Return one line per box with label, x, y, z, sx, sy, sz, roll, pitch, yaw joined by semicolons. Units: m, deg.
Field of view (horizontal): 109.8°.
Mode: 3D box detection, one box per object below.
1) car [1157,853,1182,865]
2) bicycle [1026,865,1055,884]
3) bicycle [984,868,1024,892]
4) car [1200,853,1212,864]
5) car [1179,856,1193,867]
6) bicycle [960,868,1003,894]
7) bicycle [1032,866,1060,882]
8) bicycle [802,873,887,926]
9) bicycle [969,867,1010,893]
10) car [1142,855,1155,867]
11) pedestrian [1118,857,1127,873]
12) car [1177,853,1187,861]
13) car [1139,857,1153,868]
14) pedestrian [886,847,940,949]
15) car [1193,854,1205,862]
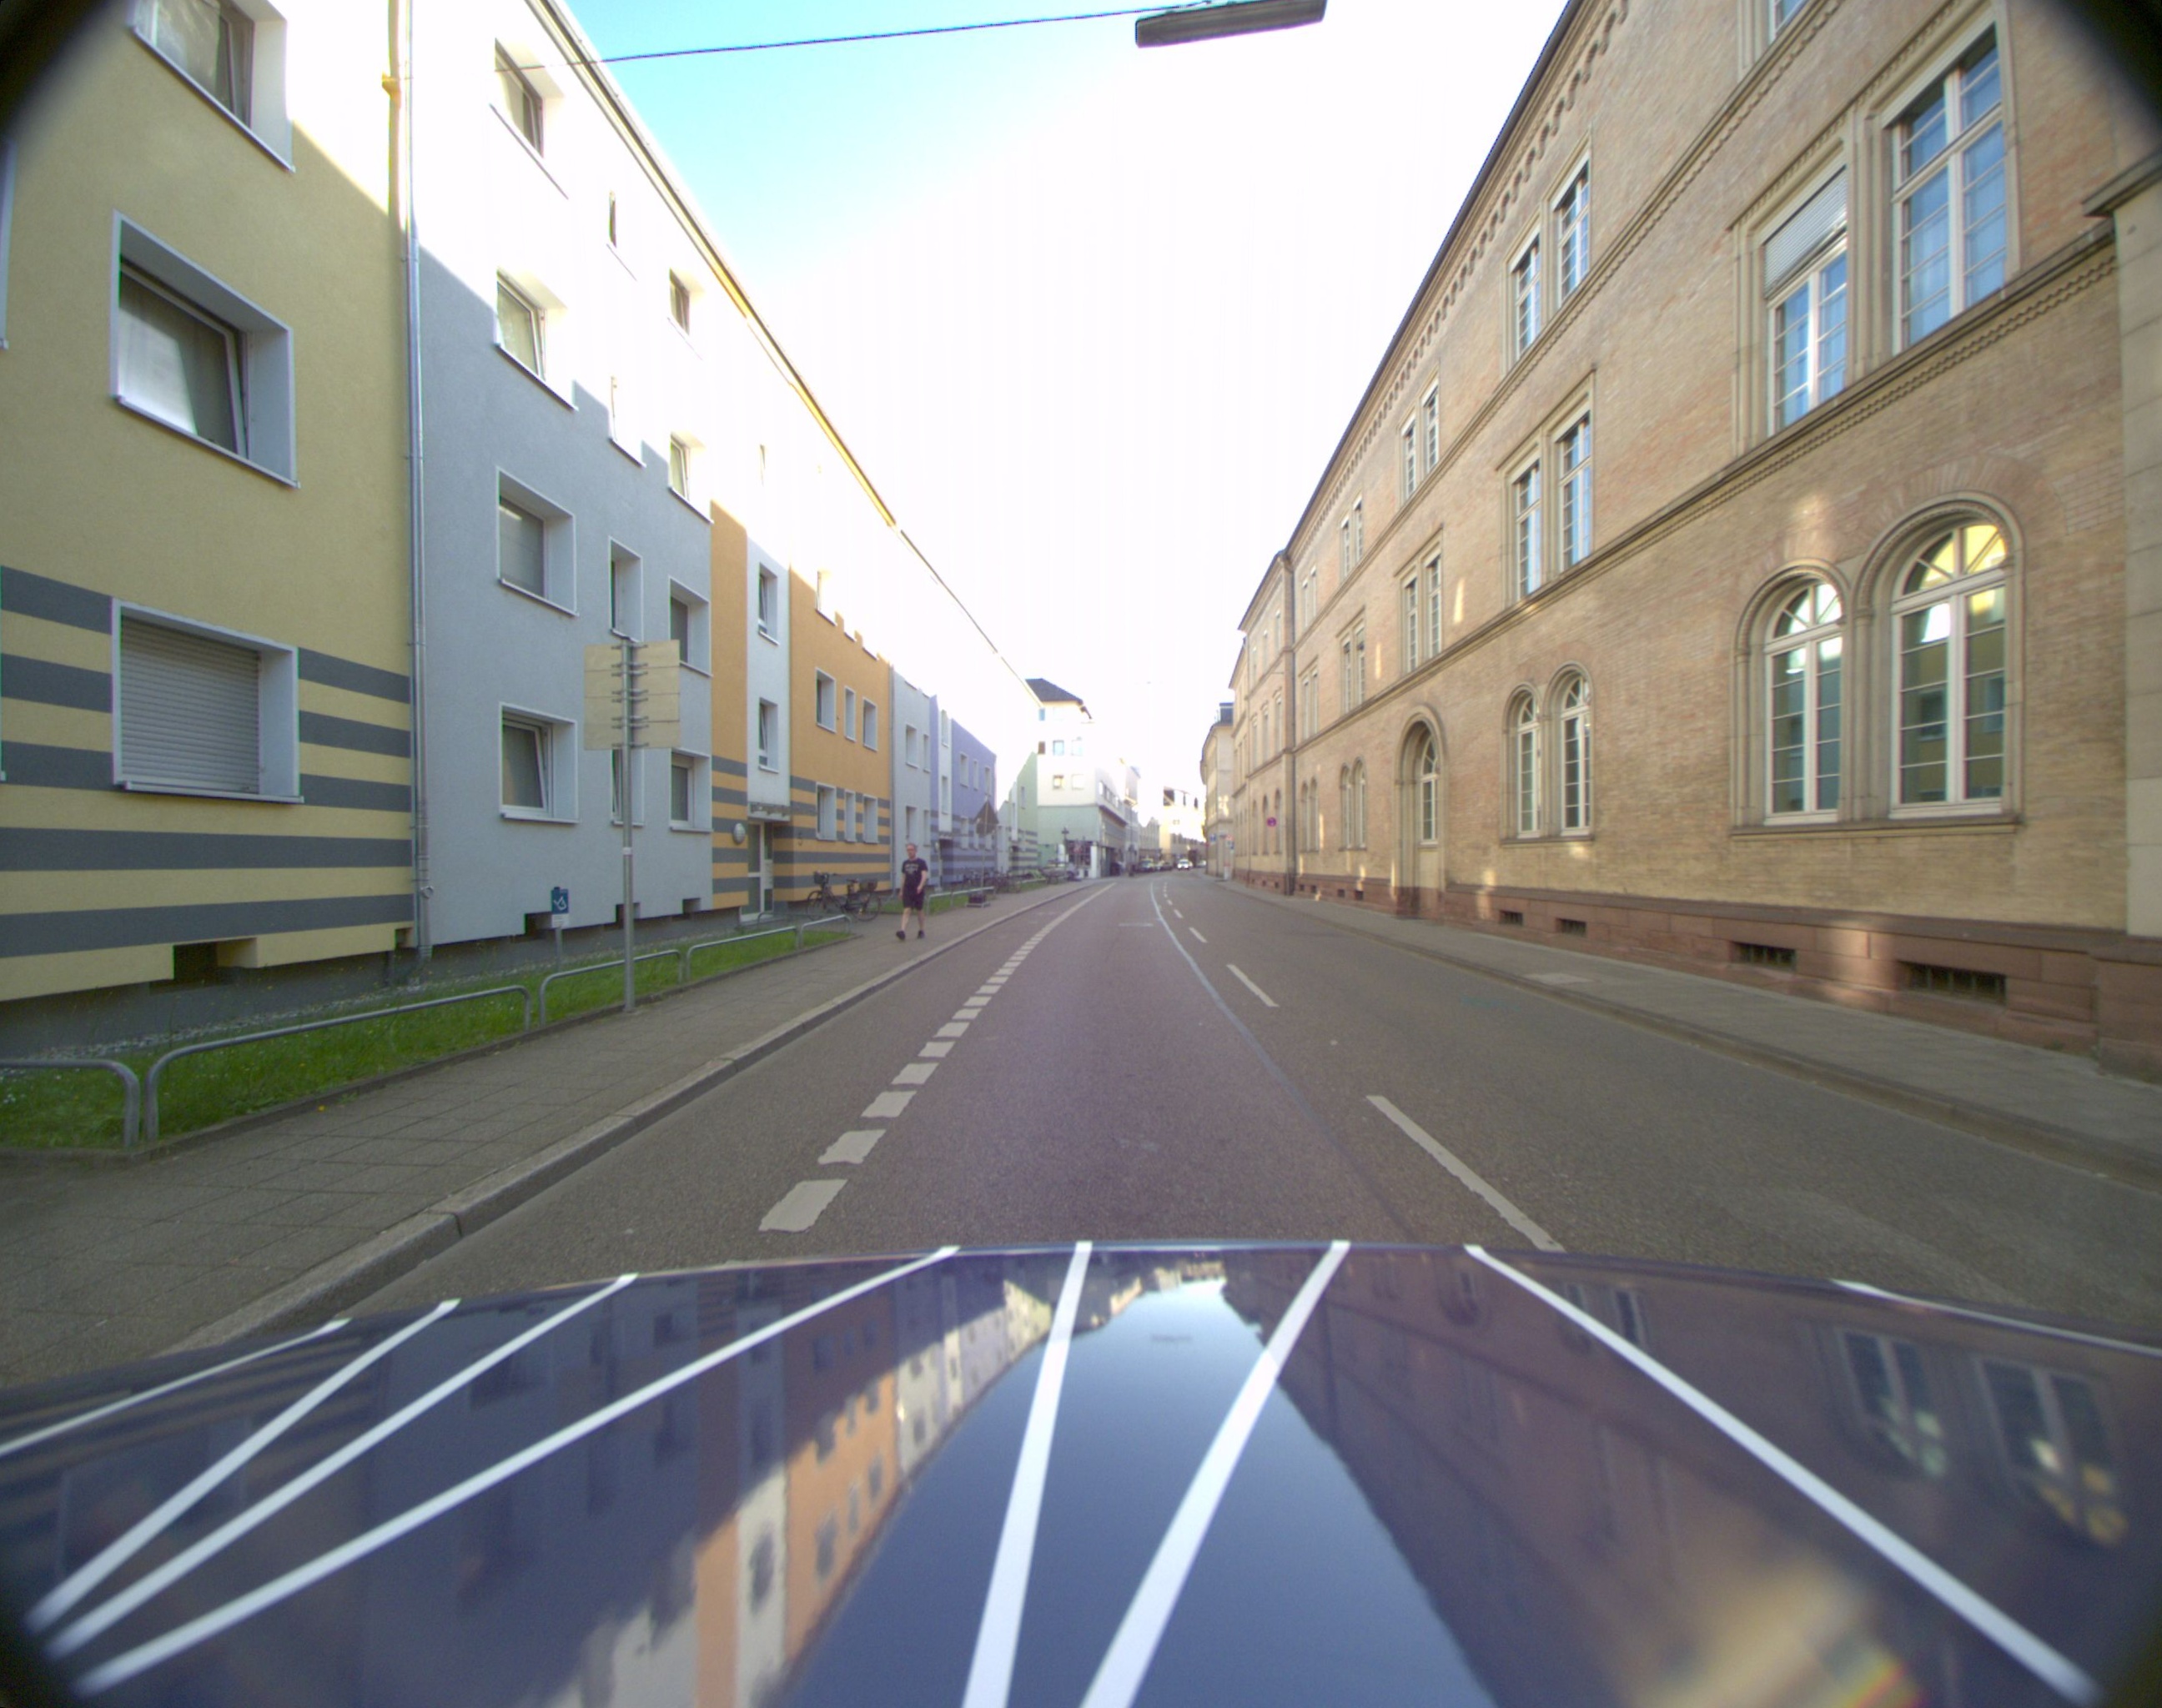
car;13.497;0.750;115.932;3.747;1.714;1.858;0;0;-42
bicycle;-2.432;1.241;46.119;1.711;1.097;0.584;1;0;-2
bicycle;-3.434;1.146;33.759;1.711;1.029;0.636;1;0;-2
car;19.814;0.773;120.428;1.662;1.714;3.743;0;0;14
car;17.514;1.228;126.940;1.921;1.712;4.965;0;0;13
bicycle;-4.160;1.121;31.856;1.710;1.039;0.636;1;0;2
bicycle;-2.184;1.272;47.579;1.711;0.972;0.516;1;0;-2
bicycle;-5.297;1.018;17.103;1.711;1.152;0.636;1;0;-2
bicycle;-3.959;1.110;32.999;1.710;1.075;0.636;1;0;1
car;9.446;0.974;106.046;1.535;1.714;3.741;0;0;8
pedestrian;4.075;1.057;73.926;0.707;1.510;0.662;-1;0;15
car;19.867;0.585;149.533;1.534;1.714;3.743;0;0;16
car;8.621;1.087;100.771;1.634;1.405;3.687;0;0;8
pedestrian;-3.063;0.774;13.924;0.646;1.778;0.916;3;1;4
car;25.461;0.771;163.539;1.925;1.714;4.236;0;0;19
